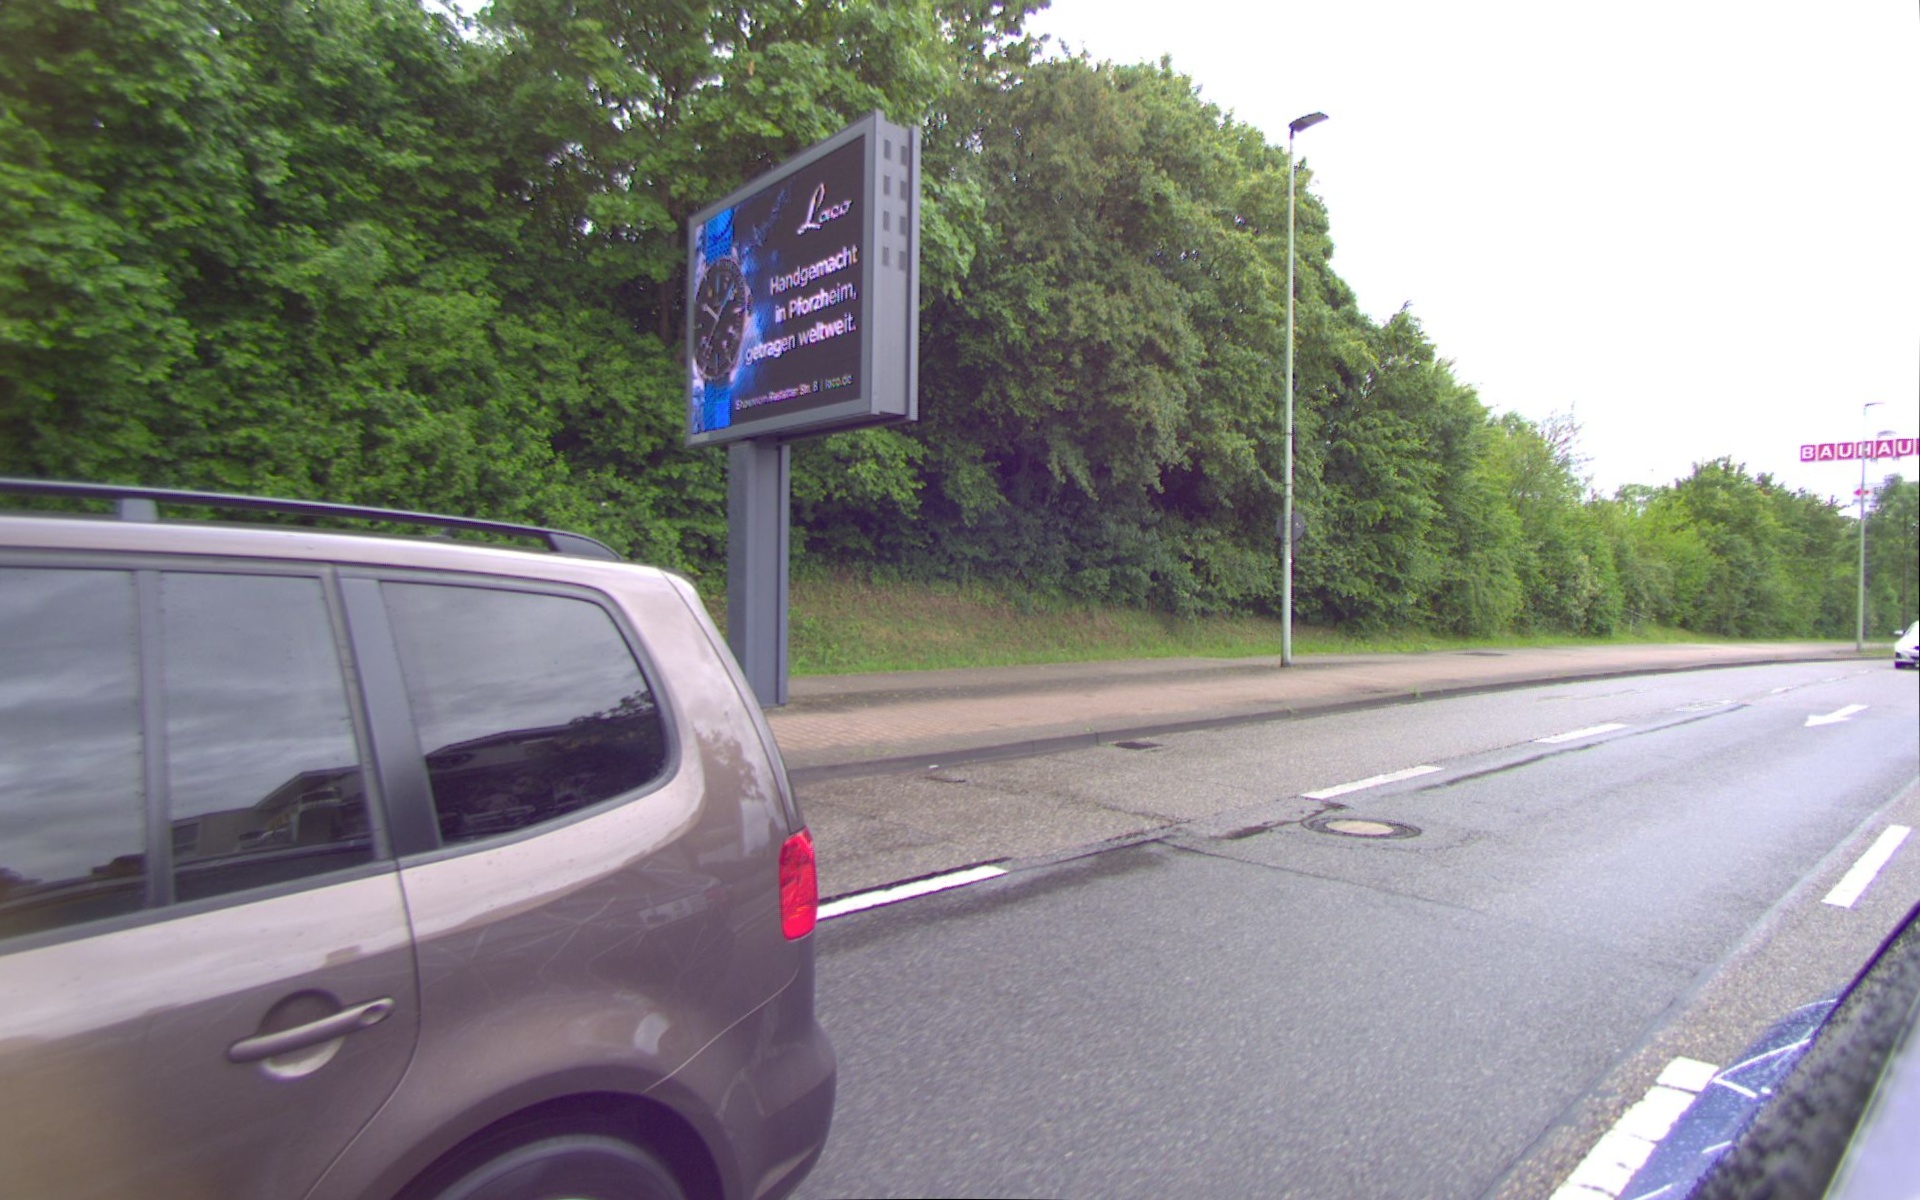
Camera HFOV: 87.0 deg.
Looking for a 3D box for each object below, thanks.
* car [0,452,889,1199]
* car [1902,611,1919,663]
[{"bbox_3d":[-2.213,0.620,1.237,4.060,1.617,1.716,1,0,-43],"label":"car"},{"bbox_3d":[29.689,1.130,30.034,3.925,1.500,1.865,2,0,-37],"label":"car"}]
